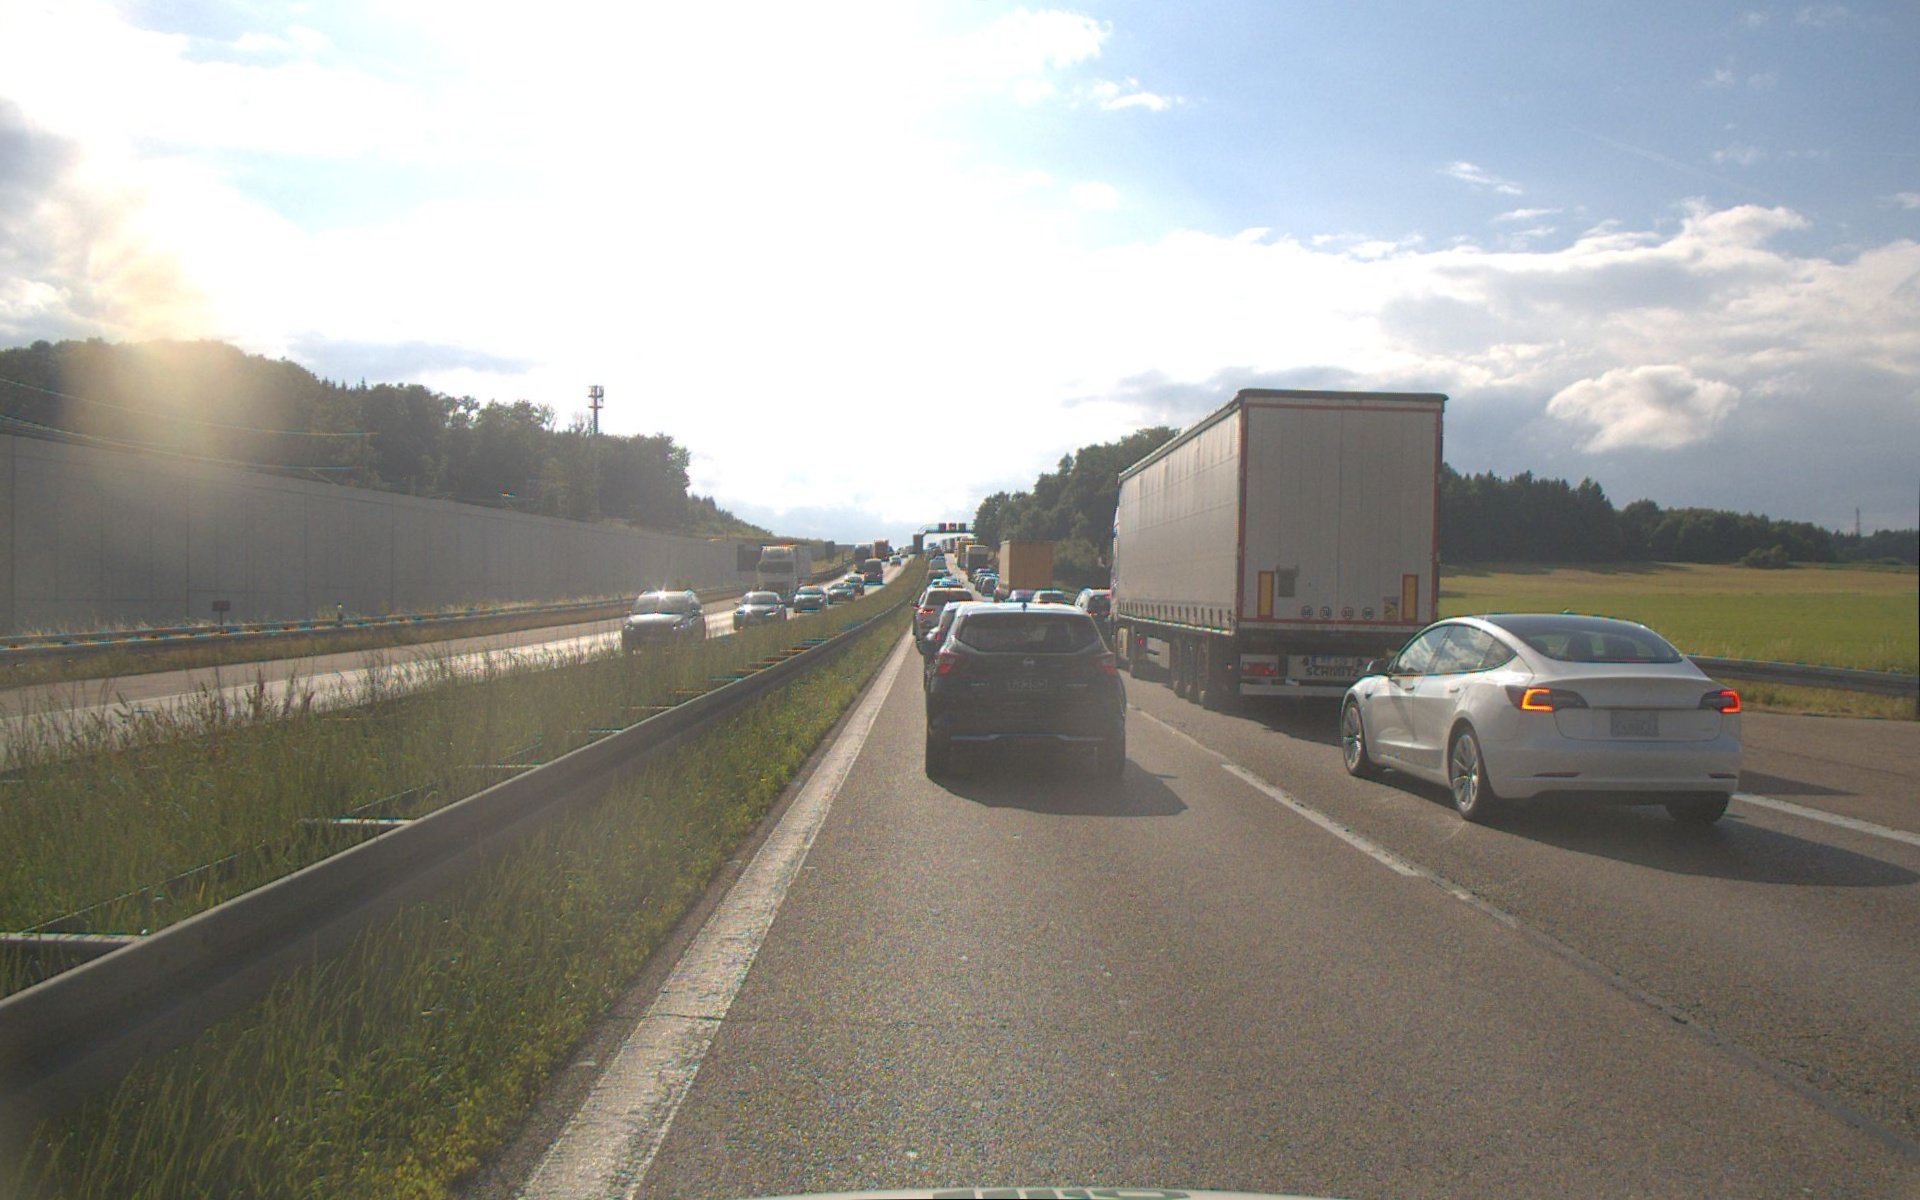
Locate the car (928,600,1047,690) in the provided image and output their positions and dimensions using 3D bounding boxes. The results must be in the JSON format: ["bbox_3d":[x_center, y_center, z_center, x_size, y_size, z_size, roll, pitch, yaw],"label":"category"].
[{"bbox_3d":[0.406,0.698,27.664,1.835,1.381,4.231,0,0,-1],"label":"car"}]

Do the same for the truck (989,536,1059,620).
[{"bbox_3d":[3.754,-1.185,100.203,3.230,4.657,12.434,1,-1,-2],"label":"truck"}]

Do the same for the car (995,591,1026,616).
[{"bbox_3d":[3.375,0.208,111.228,1.836,1.673,4.230,0,0,-3],"label":"car"}]

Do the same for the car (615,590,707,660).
[{"bbox_3d":[-7.905,0.640,44.084,1.744,1.767,4.101,0,0,-1],"label":"car"}]

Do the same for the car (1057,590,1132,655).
[{"bbox_3d":[3.514,0.579,43.819,1.663,1.639,4.436,0,0,0],"label":"car"}]

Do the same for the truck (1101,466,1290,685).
[{"bbox_3d":[4.665,-0.431,33.802,3.069,4.086,5.162,1,-1,0],"label":"truck"}]

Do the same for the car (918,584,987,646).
[{"bbox_3d":[-0.222,0.405,46.505,1.835,1.673,4.231,0,0,-1],"label":"car"}]

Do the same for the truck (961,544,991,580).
[{"bbox_3d":[2.110,-5.192,225.162,3.394,4.657,12.437,1,1,-2],"label":"truck"}]

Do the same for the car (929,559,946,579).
[{"bbox_3d":[-2.585,-3.549,188.938,1.835,2.196,5.211,0,3,-1],"label":"car"}]

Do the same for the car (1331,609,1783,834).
[{"bbox_3d":[4.366,0.802,12.910,1.753,1.418,4.434,0,0,-3],"label":"car"}]

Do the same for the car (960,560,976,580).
[{"bbox_3d":[0.938,-3.655,199.191,1.835,2.196,5.211,0,3,-1],"label":"car"}]

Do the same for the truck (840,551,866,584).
[{"bbox_3d":[-15.846,-4.728,244.624,3.230,4.657,12.438,0,0,-1],"label":"truck"}]

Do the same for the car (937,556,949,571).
[{"bbox_3d":[-2.634,-5.535,251.343,1.835,2.196,5.211,0,3,-1],"label":"car"}]

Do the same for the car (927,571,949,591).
[{"bbox_3d":[-1.959,-1.672,144.930,1.835,1.673,4.231,0,1,-2],"label":"car"}]

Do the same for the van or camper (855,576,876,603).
[{"bbox_3d":[-10.668,-1.129,186.469,2.047,2.869,5.894,1,-1,-1],"label":"van or camper"}]

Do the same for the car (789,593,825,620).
[{"bbox_3d":[-8.955,0.391,96.974,1.733,1.505,3.828,0,0,0],"label":"car"}]

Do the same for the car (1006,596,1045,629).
[{"bbox_3d":[3.424,0.653,86.973,1.835,1.673,4.231,0,0,-1],"label":"car"}]

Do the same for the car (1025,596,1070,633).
[{"bbox_3d":[4.057,0.685,77.076,1.835,1.673,4.231,0,0,-1],"label":"car"}]

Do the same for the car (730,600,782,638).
[{"bbox_3d":[-8.365,0.767,68.003,1.663,1.525,4.426,0,0,-1],"label":"car"}]

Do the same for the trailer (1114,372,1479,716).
[{"bbox_3d":[4.671,-0.556,26.555,3.066,4.081,13.364,1,-1,0],"label":"trailer"}]

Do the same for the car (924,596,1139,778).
[{"bbox_3d":[0.560,0.711,15.506,1.737,1.476,4.231,0,0,-1],"label":"car"}]

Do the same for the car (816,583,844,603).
[{"bbox_3d":[-9.135,-0.461,116.565,1.706,1.381,4.231,0,0,-1],"label":"car"}]

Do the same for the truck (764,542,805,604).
[{"bbox_3d":[-12.321,-1.859,116.541,2.332,4.254,5.931,0,0,-1],"label":"truck"}]

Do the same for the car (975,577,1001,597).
[{"bbox_3d":[2.414,-1.133,142.621,1.836,1.673,4.229,0,1,-4],"label":"car"}]

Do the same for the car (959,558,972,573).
[{"bbox_3d":[0.868,-5.320,254.430,1.835,2.196,5.211,0,3,-1],"label":"car"}]
